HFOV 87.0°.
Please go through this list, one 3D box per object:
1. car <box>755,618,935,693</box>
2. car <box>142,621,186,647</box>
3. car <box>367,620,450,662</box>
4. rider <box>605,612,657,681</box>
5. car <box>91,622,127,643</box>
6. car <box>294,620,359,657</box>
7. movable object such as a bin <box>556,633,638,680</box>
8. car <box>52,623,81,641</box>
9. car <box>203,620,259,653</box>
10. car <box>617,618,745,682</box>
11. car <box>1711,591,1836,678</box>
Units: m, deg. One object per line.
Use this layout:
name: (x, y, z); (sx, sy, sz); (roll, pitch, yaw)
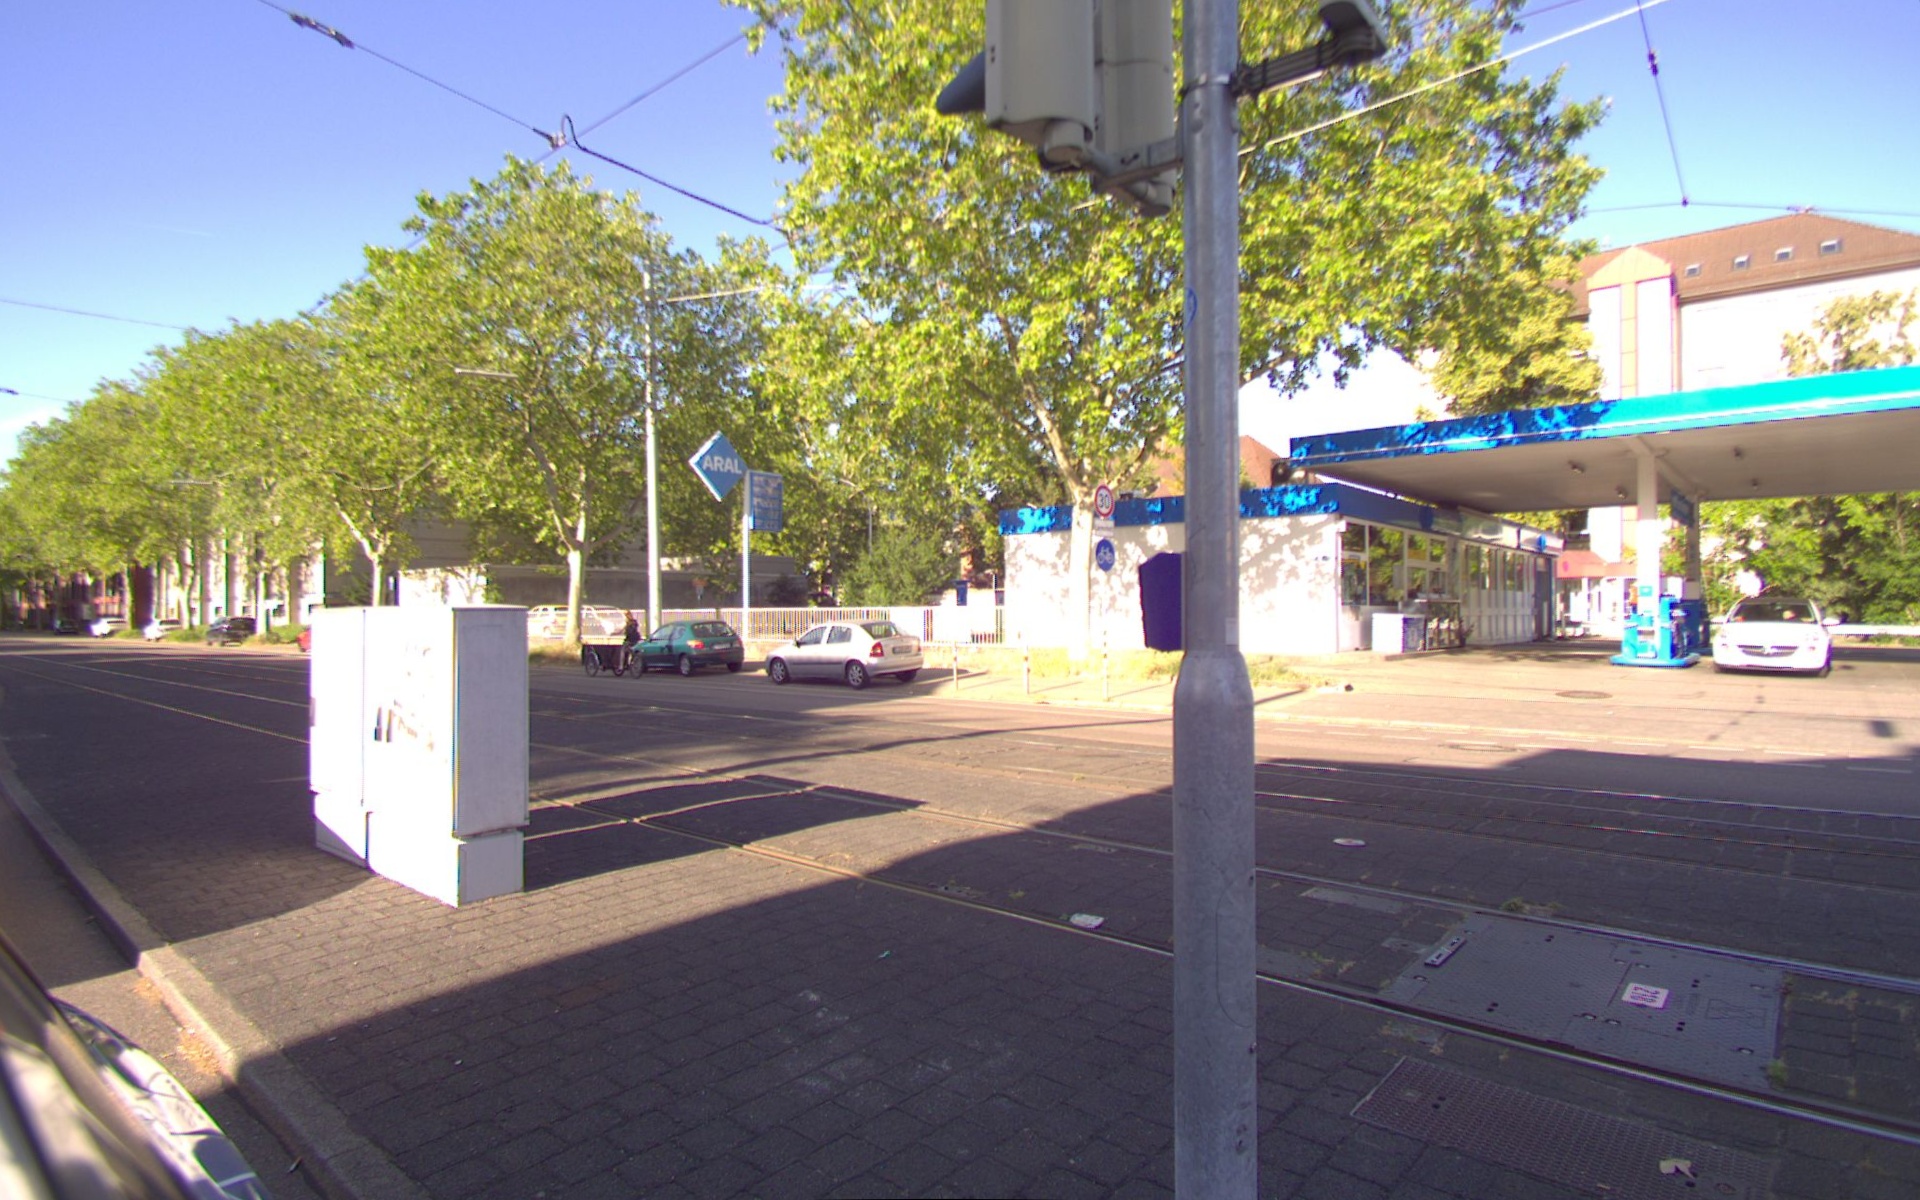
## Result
car: (-2.622, 1.190, 22.590); (3.987, 1.376, 1.666); (-2, 3, 41)
car: (-53.696, 2.293, 68.235); (3.878, 1.552, 1.731); (-1, 2, 43)
car: (-21.775, 1.569, 39.899); (3.769, 1.455, 1.701); (-1, 2, 43)
rider: (-8.214, 1.148, 25.259); (1.104, 1.660, 0.717); (-1, 0, 36)
car: (-66.783, 2.510, 79.401); (3.731, 1.471, 1.639); (-1, 2, 43)
car: (-28.789, 1.725, 45.974); (3.377, 1.506, 1.639); (-1, 2, 43)
movable object such as a bin: (-9.317, 1.430, 25.967); (1.831, 1.111, 1.164); (-1, 0, 36)
car: (-85.032, 3.022, 96.320); (3.731, 1.471, 1.639); (-1, 2, 43)
car: (-40.722, 2.002, 56.491); (3.878, 1.603, 1.731); (-1, 2, 43)
car: (-7.466, 1.280, 26.958); (3.606, 1.455, 1.598); (-1, 2, 43)
car: (15.893, 0.603, 19.703); (1.743, 1.446, 3.882); (-1, 1, 41)
